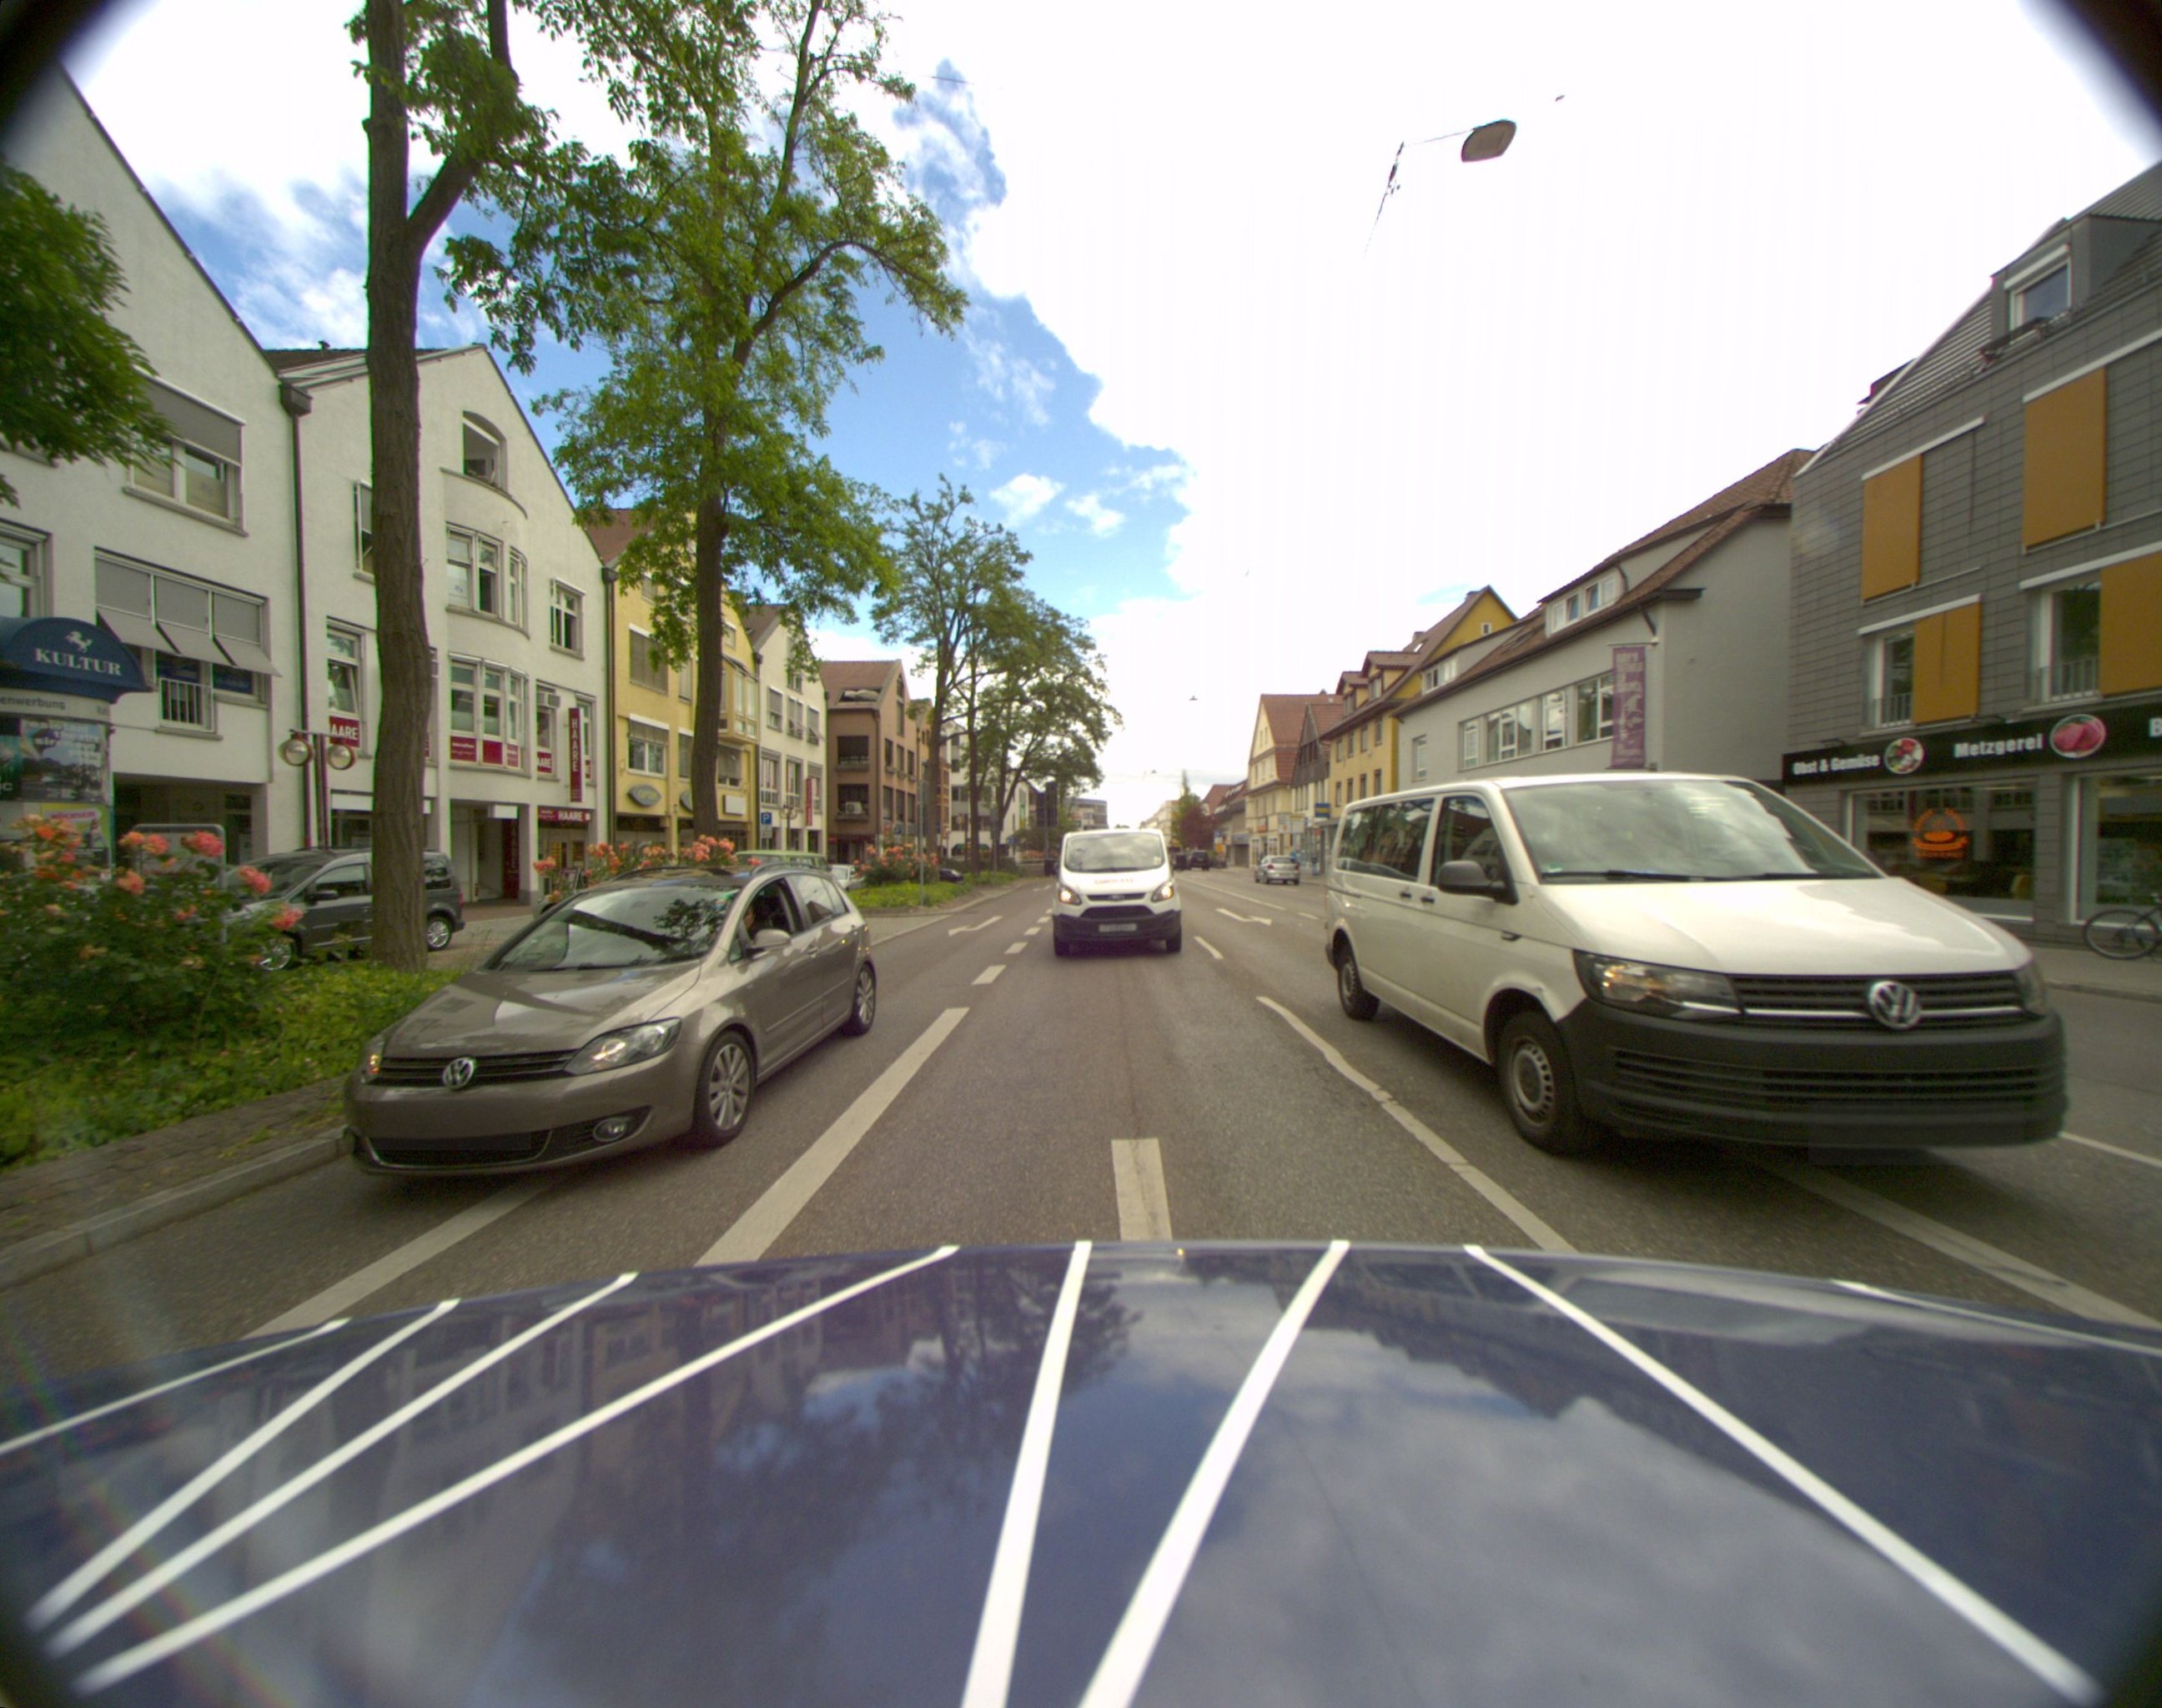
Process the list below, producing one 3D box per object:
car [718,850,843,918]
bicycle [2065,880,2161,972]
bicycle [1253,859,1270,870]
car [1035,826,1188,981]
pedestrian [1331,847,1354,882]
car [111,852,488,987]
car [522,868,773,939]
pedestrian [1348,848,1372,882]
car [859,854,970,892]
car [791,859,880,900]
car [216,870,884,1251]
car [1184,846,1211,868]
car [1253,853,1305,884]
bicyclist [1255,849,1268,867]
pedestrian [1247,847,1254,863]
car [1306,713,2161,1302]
[{"bbox_3d":[-9.127,0.826,23.567,1.999,1.865,4.753,1,1,0],"label":"car"},{"bbox_3d":[13.662,0.905,9.398,0.573,1.094,1.903,-1,0,3],"label":"bicycle"},{"bbox_3d":[13.866,0.810,58.390,0.773,0.818,2.240,0,0,2],"label":"bicycle"},{"bbox_3d":[0.519,0.645,12.946,1.939,1.968,5.780,-2,0,2],"label":"car"},{"bbox_3d":[12.601,0.486,36.612,0.812,1.651,0.921,-1,1,3],"label":"pedestrian"},{"bbox_3d":[-12.187,0.883,12.368,1.738,1.793,4.260,0,0,0],"label":"car"},{"bbox_3d":[-9.594,1.074,17.045,4.649,1.445,1.740,0,1,2],"label":"car"},{"bbox_3d":[13.450,0.523,36.642,0.812,1.574,0.921,-1,1,3],"label":"pedestrian"},{"bbox_3d":[-7.481,0.847,34.564,4.753,1.669,1.999,1,0,-6],"label":"car"},{"bbox_3d":[-9.226,0.913,28.986,1.843,1.302,4.753,1,1,0],"label":"car"},{"bbox_3d":[-2.858,0.956,5.348,1.801,1.521,4.000,-2,0,0],"label":"car"},{"bbox_3d":[11.008,0.245,71.875,1.928,1.957,4.770,1,0,2],"label":"car"},{"bbox_3d":[10.070,0.696,38.890,1.763,1.440,4.036,0,1,3],"label":"car"},{"bbox_3d":[13.871,0.305,58.385,0.773,1.415,0.752,0,1,2],"label":"bicyclist"},{"bbox_3d":[19.558,0.123,87.707,0.673,1.891,0.678,0,1,2],"label":"pedestrian"},{"bbox_3d":[3.151,0.532,5.047,1.998,2.002,4.840,-2,0,2],"label":"car"}]
